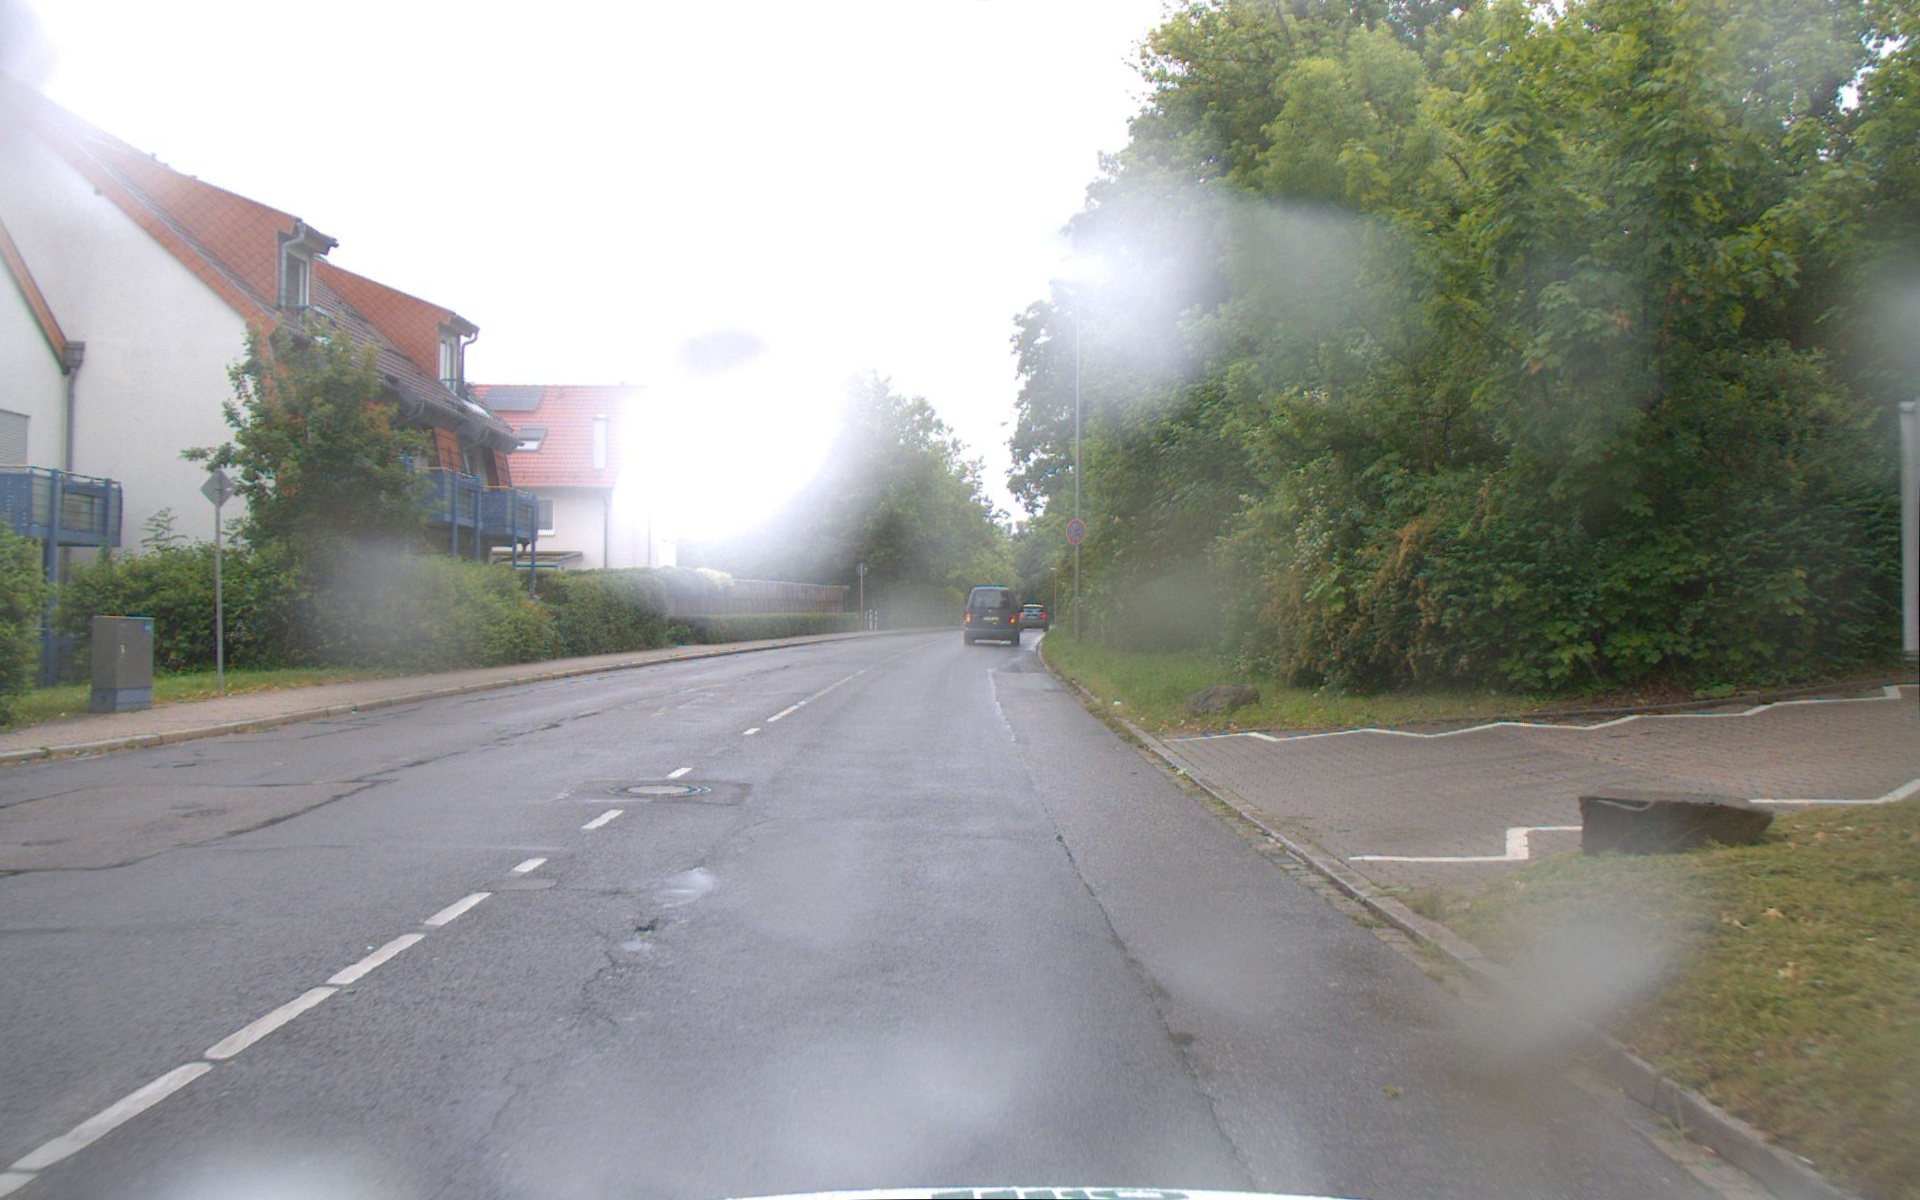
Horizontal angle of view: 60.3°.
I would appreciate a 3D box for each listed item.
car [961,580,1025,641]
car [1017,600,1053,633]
[{"bbox_3d":[1.114,0.304,53.912,1.952,1.825,4.001,3,1,2],"label":"car"},{"bbox_3d":[4.242,0.907,92.766,1.909,1.780,4.002,0,1,4],"label":"car"}]
